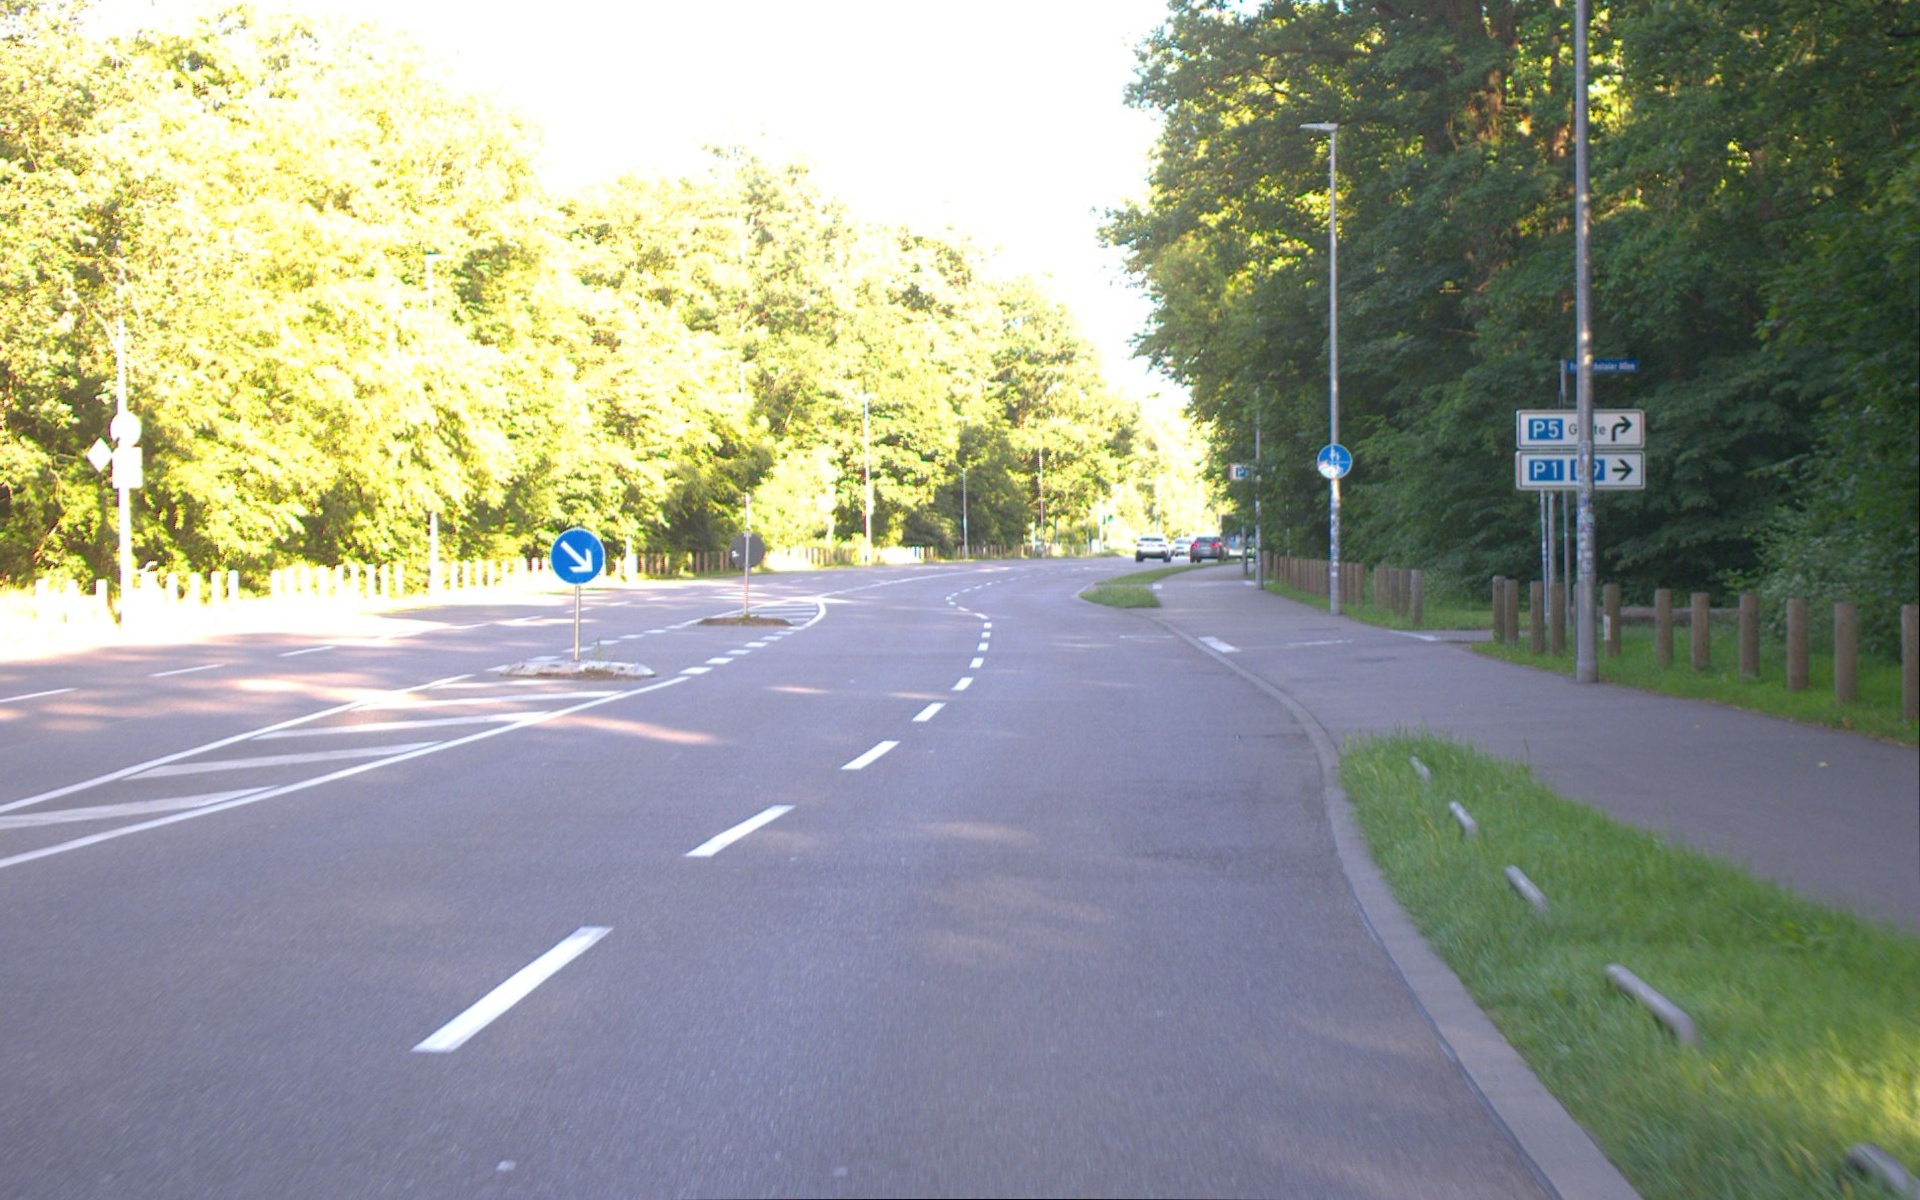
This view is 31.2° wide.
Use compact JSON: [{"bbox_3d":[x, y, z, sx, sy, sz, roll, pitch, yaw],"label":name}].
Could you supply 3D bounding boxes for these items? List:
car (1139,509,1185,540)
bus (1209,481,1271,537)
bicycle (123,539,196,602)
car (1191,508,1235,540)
[{"bbox_3d":[11.563,-4.344,196.885,1.881,1.703,3.998,-1,2,14],"label":"car"},{"bbox_3d":[17.320,-5.642,212.483,2.607,3.357,7.971,0,2,14],"label":"bus"},{"bbox_3d":[-14.547,-0.546,62.497,0.401,1.128,2.218,1,1,11],"label":"bicycle"},{"bbox_3d":[14.637,-4.402,198.983,1.881,1.759,3.998,-1,2,14],"label":"car"}]
